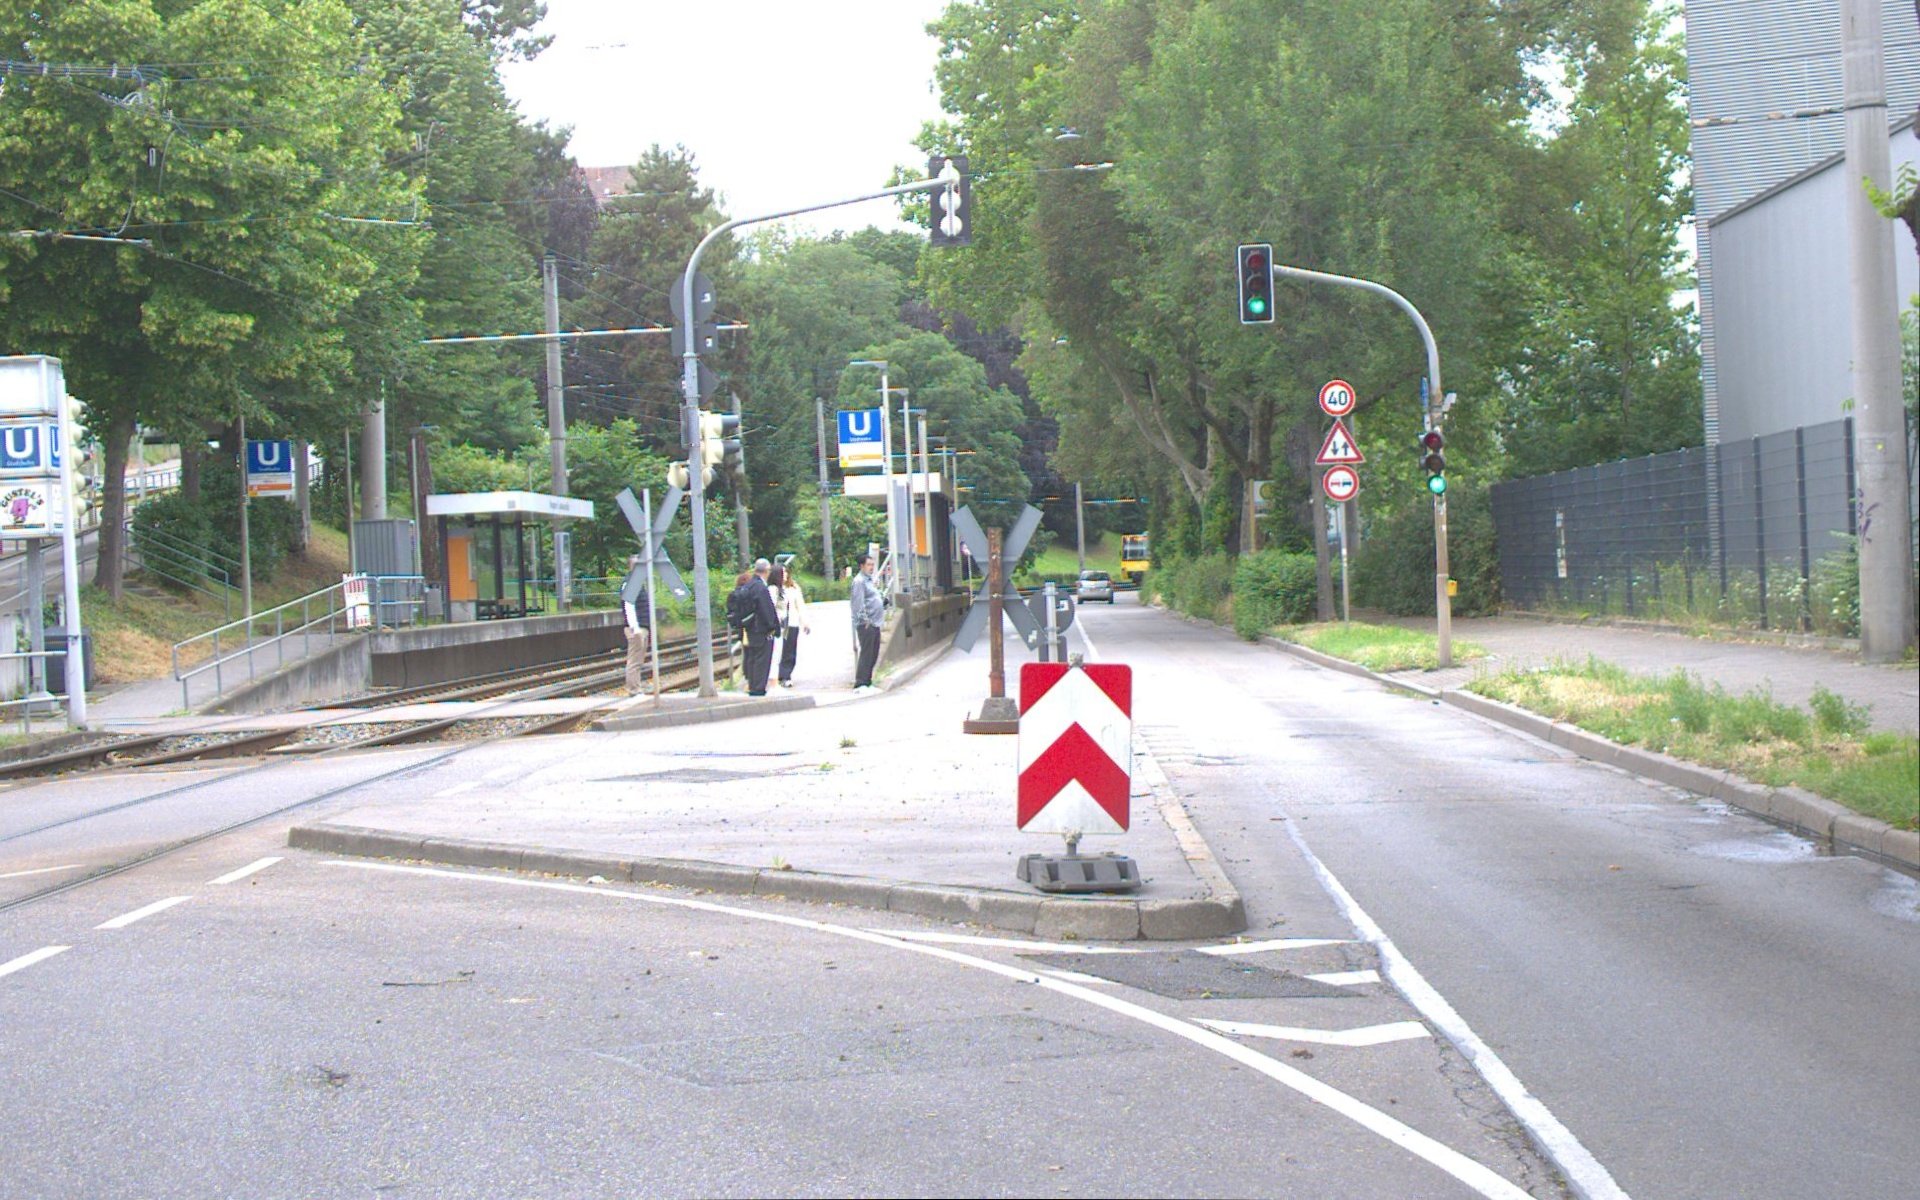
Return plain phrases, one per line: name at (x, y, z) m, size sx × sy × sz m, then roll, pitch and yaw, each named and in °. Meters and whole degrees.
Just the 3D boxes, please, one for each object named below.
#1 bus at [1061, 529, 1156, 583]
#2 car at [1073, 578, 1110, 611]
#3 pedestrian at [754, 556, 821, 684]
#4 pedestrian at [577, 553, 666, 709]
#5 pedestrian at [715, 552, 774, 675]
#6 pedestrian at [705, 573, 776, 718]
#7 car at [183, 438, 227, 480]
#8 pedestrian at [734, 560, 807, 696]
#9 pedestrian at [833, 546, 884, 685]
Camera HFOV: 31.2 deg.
bus at (10.128, -2.949, 233.214) m, size 2.739 × 3.614 × 8.927 m, roll 0°, pitch 0°, yaw 29°
car at (6.391, -0.297, 167.655) m, size 1.743 × 1.593 × 4.000 m, roll 0°, pitch 0°, yaw 1°
pedestrian at (-2.262, 0.259, 45.230) m, size 0.680 × 1.659 × 0.737 m, roll 0°, pitch 0°, yaw 15°
pedestrian at (-3.991, 0.353, 40.487) m, size 0.802 × 1.815 × 0.670 m, roll 0°, pitch 0°, yaw -36°
pedestrian at (-2.931, 0.184, 46.764) m, size 0.735 × 1.659 × 0.682 m, roll 0°, pitch 0°, yaw -9°
pedestrian at (-2.551, 0.523, 40.033) m, size 0.735 × 1.659 × 0.681 m, roll 0°, pitch 0°, yaw 3°
car at (-41.832, -7.803, 190.484) m, size 1.993 × 2.138 × 4.001 m, roll 0°, pitch 0°, yaw -7°
pedestrian at (-2.341, 0.343, 42.524) m, size 0.680 × 1.659 × 0.737 m, roll 0°, pitch 0°, yaw 17°
pedestrian at (-1.287, 0.189, 43.800) m, size 0.550 × 1.752 × 0.737 m, roll 0°, pitch 0°, yaw 6°
